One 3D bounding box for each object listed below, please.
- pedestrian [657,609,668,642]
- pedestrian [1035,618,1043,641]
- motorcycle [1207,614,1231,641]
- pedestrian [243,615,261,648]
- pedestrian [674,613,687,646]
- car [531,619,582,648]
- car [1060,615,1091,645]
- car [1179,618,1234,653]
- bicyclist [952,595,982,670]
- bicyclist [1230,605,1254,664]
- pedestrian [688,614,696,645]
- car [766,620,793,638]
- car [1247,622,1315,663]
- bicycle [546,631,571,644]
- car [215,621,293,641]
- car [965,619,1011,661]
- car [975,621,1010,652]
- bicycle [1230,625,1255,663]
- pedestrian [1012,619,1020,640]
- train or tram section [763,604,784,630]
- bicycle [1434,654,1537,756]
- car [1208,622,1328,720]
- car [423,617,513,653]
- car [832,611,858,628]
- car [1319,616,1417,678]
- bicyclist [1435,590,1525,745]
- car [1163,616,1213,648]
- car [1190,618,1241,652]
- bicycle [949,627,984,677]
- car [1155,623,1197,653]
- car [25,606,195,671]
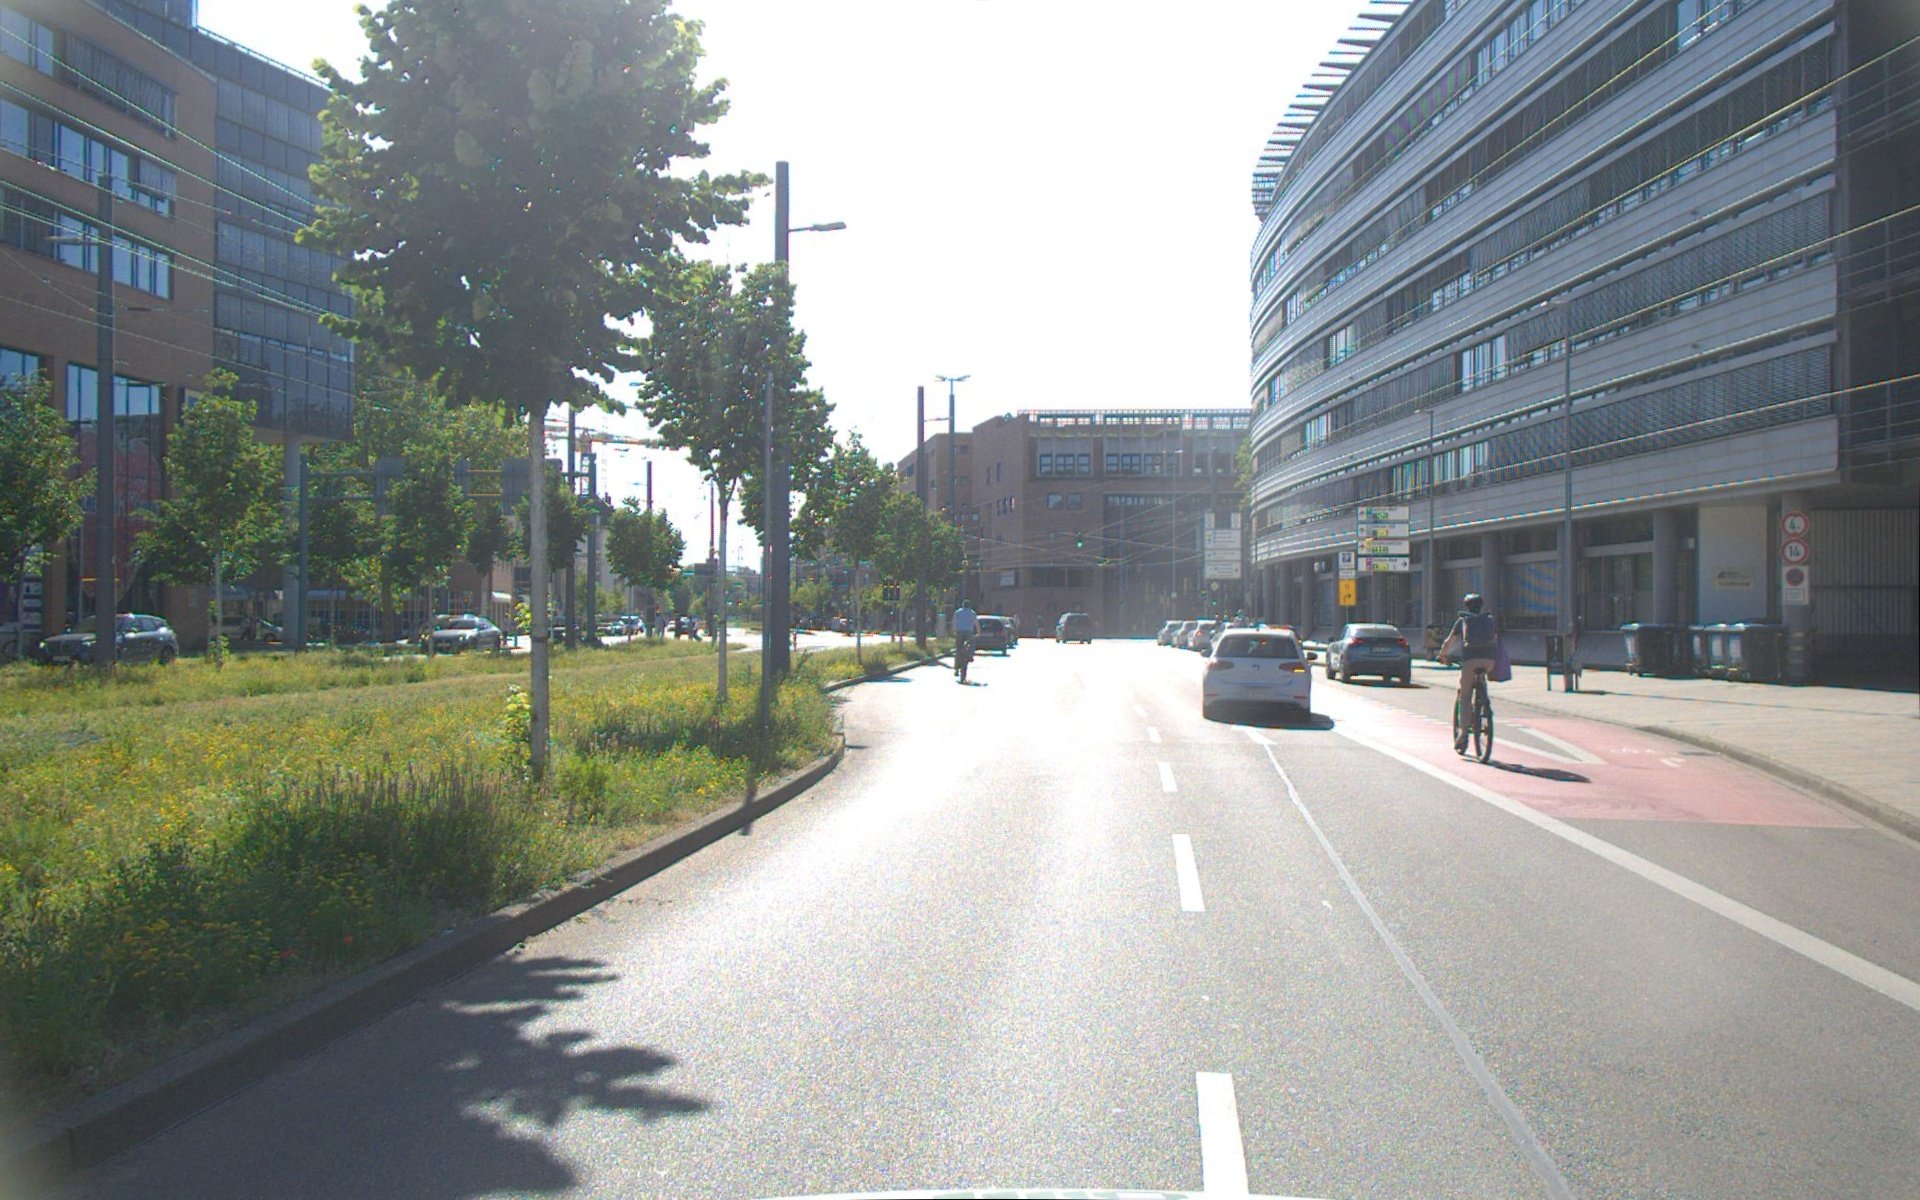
[{"bbox_3d":[-16.877,1.445,93.695,0.456,1.863,0.453,1,-1,-36],"label":"pedestrian"},{"bbox_3d":[5.955,2.219,124.777,0.471,1.685,0.489,0,-1,-15],"label":"pedestrian"},{"bbox_3d":[12.082,1.282,77.170,0.812,1.222,2.390,1,-1,1],"label":"motorcycle"},{"bbox_3d":[-35.504,1.588,82.969,0.496,1.653,0.788,0,-2,2],"label":"pedestrian"},{"bbox_3d":[-16.003,1.701,94.832,0.576,1.863,0.491,1,-1,-36],"label":"pedestrian"},{"bbox_3d":[-19.305,1.591,79.172,1.398,1.383,3.297,0,-1,4],"label":"car"},{"bbox_3d":[7.127,1.824,102.209,1.745,1.732,4.139,2,0,2],"label":"car"},{"bbox_3d":[12.342,1.769,83.166,1.868,1.611,4.135,2,0,-4],"label":"car"},{"bbox_3d":[0.175,0.746,38.302,0.605,1.699,1.020,2,-1,2],"label":"bicyclist"},{"bbox_3d":[8.655,1.054,50.778,0.635,1.783,1.046,0,0,6],"label":"bicyclist"},{"bbox_3d":[-15.746,1.726,97.182,0.381,1.863,0.459,0,-1,-30],"label":"pedestrian"},{"bbox_3d":[-18.176,2.914,166.687,2.223,1.758,3.930,0,-1,-14],"label":"car"},{"bbox_3d":[11.860,1.542,61.323,1.686,1.447,4.637,1,-1,1],"label":"car"},{"bbox_3d":[-41.446,3.867,170.708,2.434,1.333,0.733,0,-1,-1],"label":"bicycle"},{"bbox_3d":[-43.286,1.898,101.472,3.905,1.253,2.000,0,-1,1],"label":"car"},{"bbox_3d":[1.131,1.559,65.592,1.690,1.591,3.679,0,-1,3],"label":"car"},{"bbox_3d":[1.597,1.794,81.215,1.691,1.474,4.521,0,-1,1],"label":"car"},{"bbox_3d":[8.642,1.337,50.657,0.635,1.129,1.759,0,-1,5],"label":"bicycle"},{"bbox_3d":[4.238,2.241,125.123,0.471,1.606,0.413,0,-1,-15],"label":"pedestrian"},{"bbox_3d":[-22.930,2.089,202.664,2.282,3.056,13.136,0,-1,-7],"label":"train or tram section"},{"bbox_3d":[6.069,1.186,19.200,0.808,1.055,1.893,2,-1,8],"label":"bicycle"},{"bbox_3d":[5.045,1.117,27.533,1.735,1.428,4.296,2,-1,8],"label":"car"},{"bbox_3d":[-19.181,1.347,64.696,1.952,1.357,4.790,0,-1,1],"label":"car"},{"bbox_3d":[-12.480,2.113,178.774,2.223,1.758,3.930,0,-1,-14],"label":"car"},{"bbox_3d":[10.783,1.204,43.998,1.685,1.551,4.400,0,-1,2],"label":"car"},{"bbox_3d":[6.000,0.765,19.140,0.789,1.722,1.052,1,-1,8],"label":"bicyclist"},{"bbox_3d":[12.253,1.711,89.052,1.868,1.568,4.135,2,0,-3],"label":"car"},{"bbox_3d":[11.048,1.511,71.799,1.685,1.420,4.789,0,-1,2],"label":"car"},{"bbox_3d":[0.159,1.180,38.418,0.672,1.088,2.698,2,-1,2],"label":"bicycle"},{"bbox_3d":[12.754,2.237,97.707,1.867,1.611,4.137,2,0,-1],"label":"car"},{"bbox_3d":[-23.385,1.033,45.715,1.951,1.711,4.541,0,-1,7],"label":"car"}]
